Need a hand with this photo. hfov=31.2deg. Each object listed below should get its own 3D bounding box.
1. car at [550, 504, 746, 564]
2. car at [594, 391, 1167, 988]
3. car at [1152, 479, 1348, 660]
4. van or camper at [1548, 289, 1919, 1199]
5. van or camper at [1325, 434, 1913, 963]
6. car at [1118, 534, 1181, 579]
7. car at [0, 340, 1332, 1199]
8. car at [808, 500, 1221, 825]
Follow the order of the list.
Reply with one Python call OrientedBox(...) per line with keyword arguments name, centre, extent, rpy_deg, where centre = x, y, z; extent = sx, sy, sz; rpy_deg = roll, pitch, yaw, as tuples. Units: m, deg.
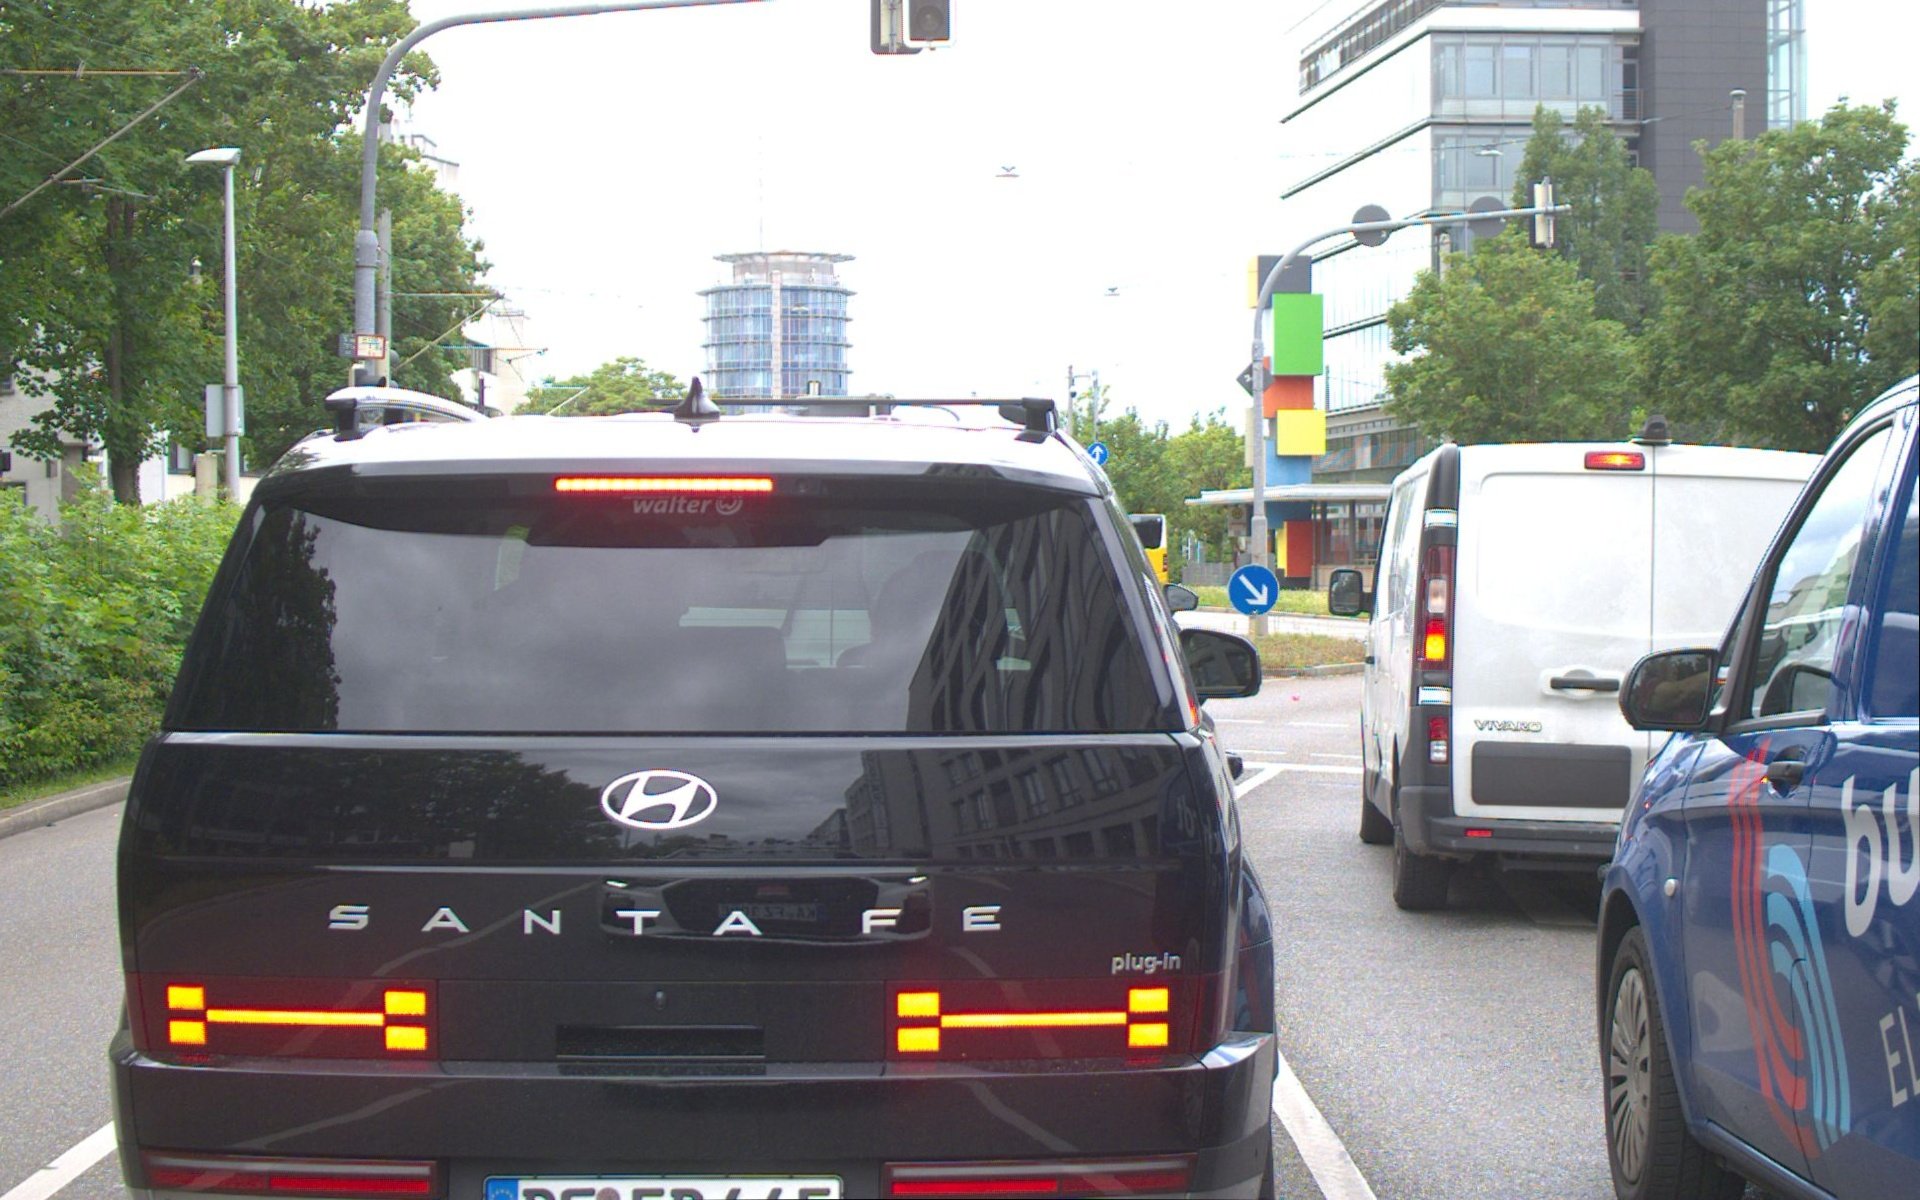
OrientedBox(name="car", centre=(-8.564, -1.798, 94.307), extent=(5.281, 1.590, 2.000), rpy_deg=(0, 0, -6))
OrientedBox(name="car", centre=(-0.288, 0.265, 13.477), extent=(1.915, 1.996, 3.880), rpy_deg=(0, 1, -1))
OrientedBox(name="car", centre=(3.354, -0.357, 40.466), extent=(1.993, 2.007, 4.000), rpy_deg=(0, 0, 1))
OrientedBox(name="van or camper", centre=(2.371, 0.470, 5.762), extent=(1.859, 1.904, 5.032), rpy_deg=(0, 1, -1))
OrientedBox(name="van or camper", centre=(2.766, 0.332, 15.507), extent=(1.994, 2.007, 4.652), rpy_deg=(1, 1, 3))
OrientedBox(name="car", centre=(7.241, -1.667, 131.809), extent=(1.993, 1.678, 4.000), rpy_deg=(0, 0, -3))
OrientedBox(name="car", centre=(-0.440, 0.487, 6.685), extent=(1.869, 1.754, 3.880), rpy_deg=(0, 1, -1))
OrientedBox(name="car", centre=(0.444, 0.313, 20.499), extent=(1.776, 1.711, 4.336), rpy_deg=(1, 0, 10))
